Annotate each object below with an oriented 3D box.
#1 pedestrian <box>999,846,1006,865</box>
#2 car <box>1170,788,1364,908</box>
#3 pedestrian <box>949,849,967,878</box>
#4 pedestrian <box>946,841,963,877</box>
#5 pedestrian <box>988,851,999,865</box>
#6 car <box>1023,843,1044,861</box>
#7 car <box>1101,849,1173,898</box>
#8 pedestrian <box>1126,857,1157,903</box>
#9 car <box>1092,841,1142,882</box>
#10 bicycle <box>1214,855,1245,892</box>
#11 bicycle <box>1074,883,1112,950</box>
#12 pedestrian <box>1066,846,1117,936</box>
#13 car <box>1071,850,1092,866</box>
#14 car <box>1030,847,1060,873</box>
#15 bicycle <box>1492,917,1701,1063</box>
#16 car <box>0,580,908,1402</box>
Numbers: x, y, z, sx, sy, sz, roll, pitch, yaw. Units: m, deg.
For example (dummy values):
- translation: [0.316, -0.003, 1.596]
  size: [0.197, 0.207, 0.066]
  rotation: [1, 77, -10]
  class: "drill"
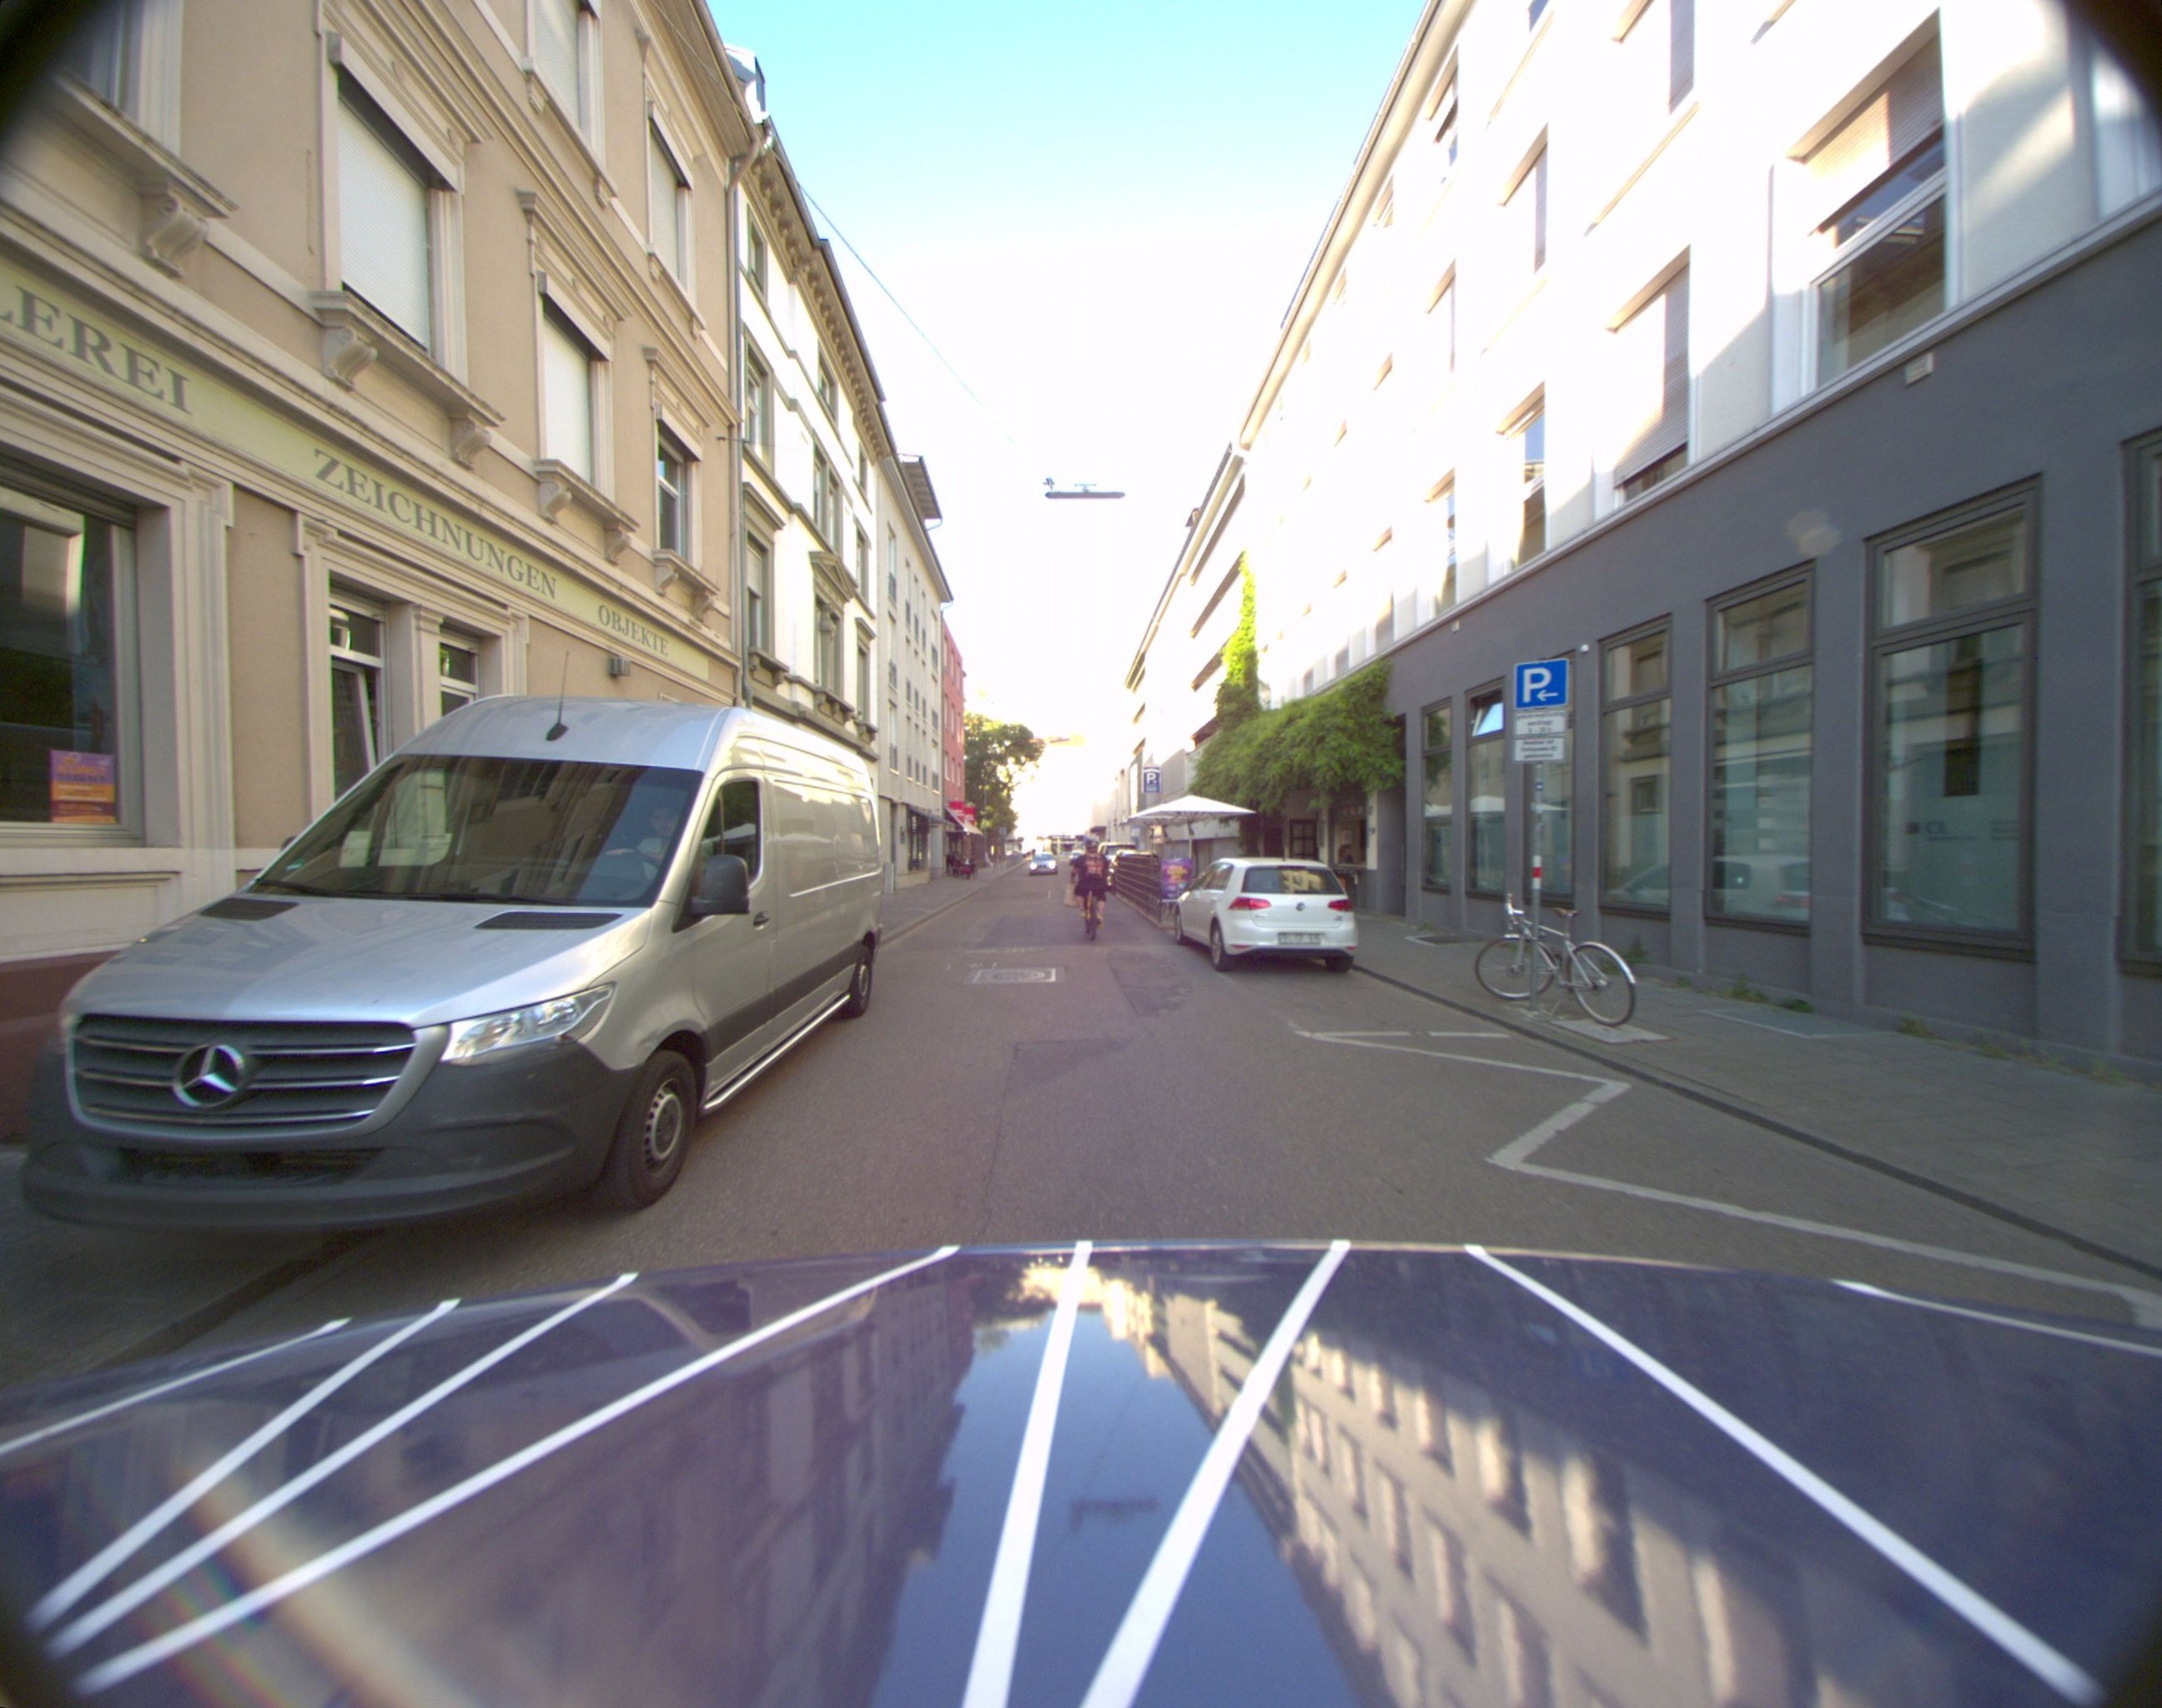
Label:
- translation: [-6.887, 0.156, 66.621]
  size: [0.438, 1.637, 0.557]
  rotation: [1, 1, 5]
  class: "pedestrian"
- translation: [2.430, -0.106, 10.919]
  size: [1.662, 1.406, 3.880]
  rotation: [0, 1, -3]
  class: "car"
- translation: [-6.370, 0.472, 39.279]
  size: [0.827, 1.477, 0.661]
  rotation: [0, 1, -3]
  class: "pedestrian"
- translation: [-6.459, 0.254, 38.833]
  size: [0.660, 1.782, 0.729]
  rotation: [2, 1, -17]
  class: "pedestrian"
- translation: [-7.644, 0.364, 66.400]
  size: [0.928, 1.242, 0.362]
  rotation: [1, 1, -5]
  class: "pedestrian"
- translation: [-5.447, -0.282, 88.136]
  size: [1.998, 2.002, 4.000]
  rotation: [0, 1, 3]
  class: "car"
- translation: [1.922, 0.646, 27.608]
  size: [1.886, 1.559, 4.768]
  rotation: [2, 1, -4]
  class: "car"
- translation: [1.708, 0.720, 21.592]
  size: [0.783, 1.279, 0.915]
  rotation: [0, 1, -2]
  class: "pedestrian"
- translation: [1.775, 0.338, 39.070]
  size: [1.999, 1.929, 4.848]
  rotation: [1, 1, -4]
  class: "car"
- translation: [4.979, 0.637, 25.589]
  size: [0.645, 1.153, 1.793]
  rotation: [-1, 1, -1]
  class: "bicycle"
- translation: [0.190, 1.071, 13.537]
  size: [0.539, 1.002, 1.980]
  rotation: [-1, 1, -2]
  class: "bicycle"
- translation: [0.176, 0.622, 13.525]
  size: [0.831, 1.536, 1.082]
  rotation: [-1, 1, -2]
  class: "pedestrian"
- translation: [0.068, 0.412, 76.847]
  size: [1.998, 1.409, 4.557]
  rotation: [1, 1, 1]
  class: "car"
- translation: [-2.330, 0.337, 48.863]
  size: [1.789, 1.516, 3.998]
  rotation: [-2, 1, -3]
  class: "car"
- translation: [4.176, 1.057, 6.327]
  size: [0.598, 0.900, 1.643]
  rotation: [-1, 1, -1]
  class: "bicycle"
- translation: [-3.030, 0.381, 5.340]
  size: [2.283, 2.425, 6.201]
  rotation: [-1, 1, -1]
  class: "car"
